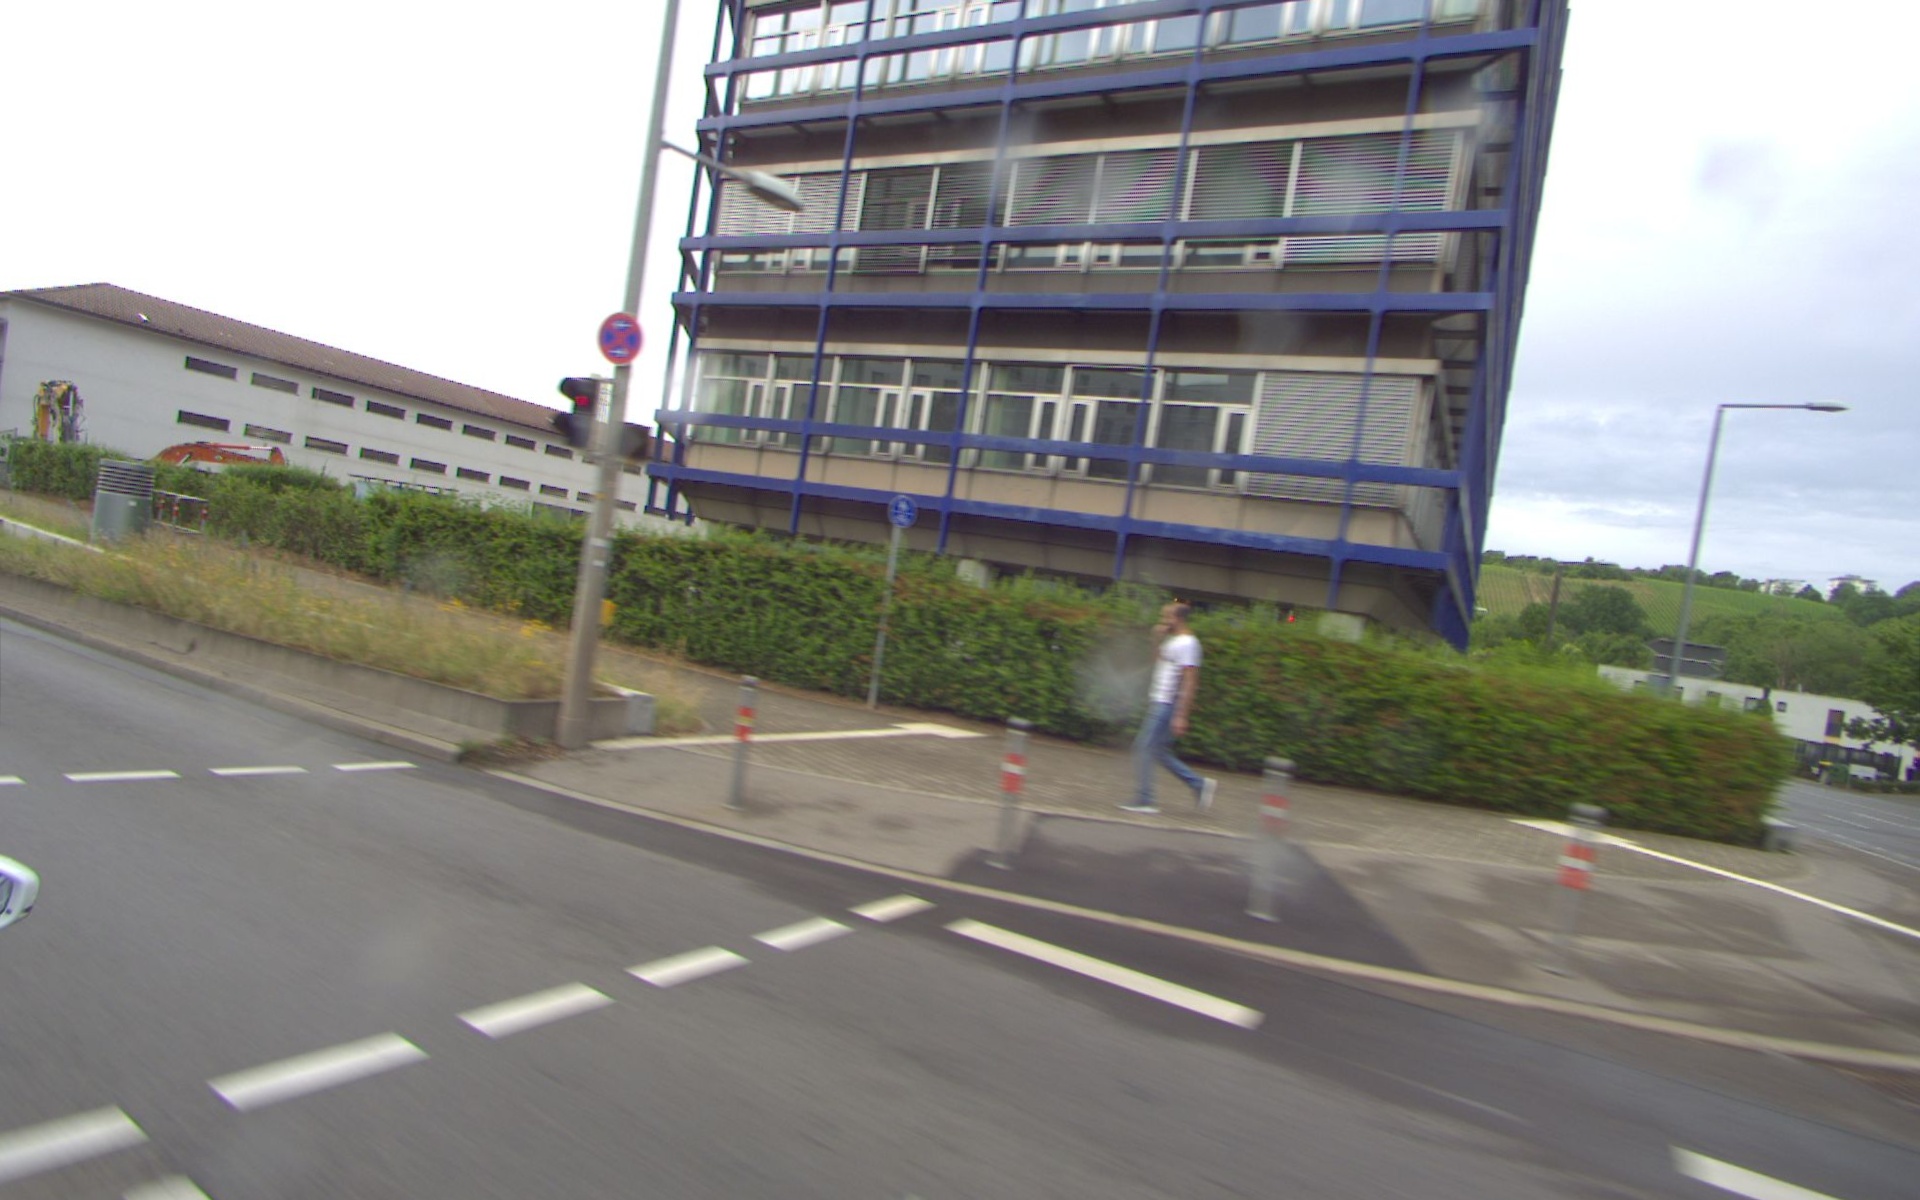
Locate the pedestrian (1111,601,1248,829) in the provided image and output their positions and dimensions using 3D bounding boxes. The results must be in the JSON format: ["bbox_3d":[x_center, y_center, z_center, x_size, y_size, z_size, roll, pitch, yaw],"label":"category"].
[{"bbox_3d":[1.782,0.901,8.130,0.817,1.672,0.555,7,0,22],"label":"pedestrian"}]

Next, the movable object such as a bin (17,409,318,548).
[{"bbox_3d":[-42.970,-6.361,55.322,3.727,5.325,12.154,6,-1,32],"label":"movable object such as a bin"}]

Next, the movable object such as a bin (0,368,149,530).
[{"bbox_3d":[-38.302,-6.283,42.656,8.626,5.749,3.294,6,-2,35],"label":"movable object such as a bin"}]
